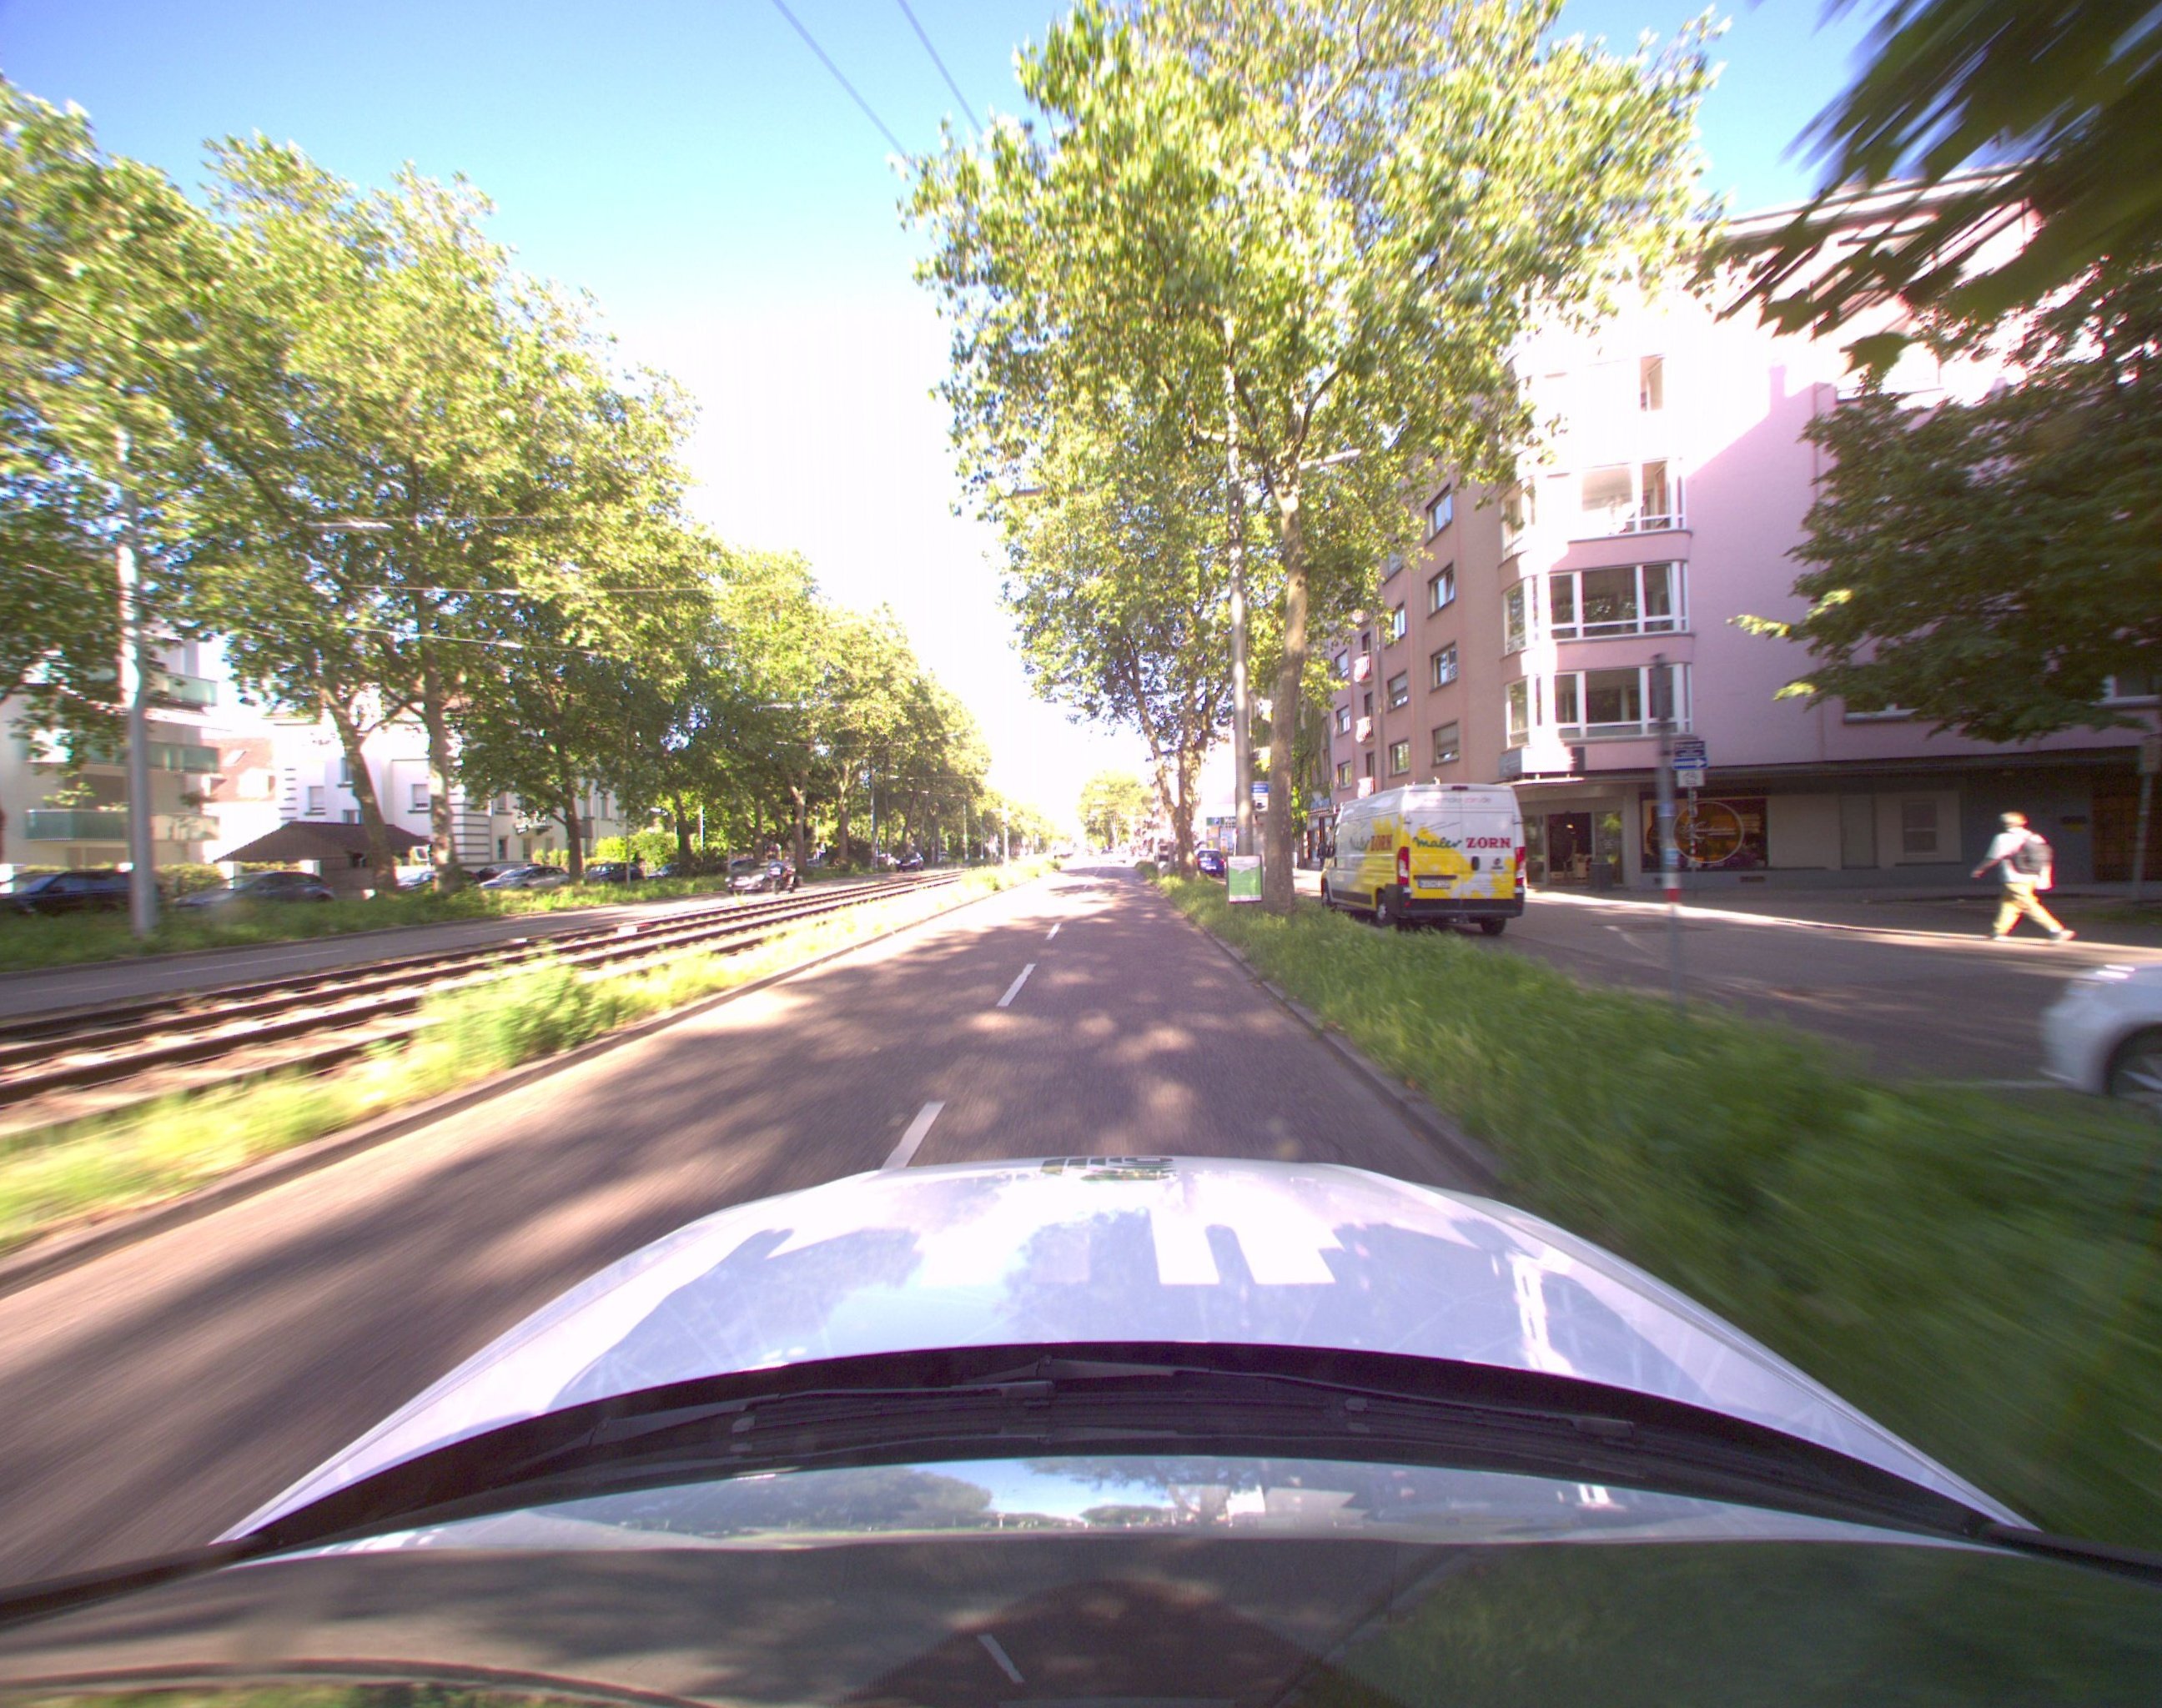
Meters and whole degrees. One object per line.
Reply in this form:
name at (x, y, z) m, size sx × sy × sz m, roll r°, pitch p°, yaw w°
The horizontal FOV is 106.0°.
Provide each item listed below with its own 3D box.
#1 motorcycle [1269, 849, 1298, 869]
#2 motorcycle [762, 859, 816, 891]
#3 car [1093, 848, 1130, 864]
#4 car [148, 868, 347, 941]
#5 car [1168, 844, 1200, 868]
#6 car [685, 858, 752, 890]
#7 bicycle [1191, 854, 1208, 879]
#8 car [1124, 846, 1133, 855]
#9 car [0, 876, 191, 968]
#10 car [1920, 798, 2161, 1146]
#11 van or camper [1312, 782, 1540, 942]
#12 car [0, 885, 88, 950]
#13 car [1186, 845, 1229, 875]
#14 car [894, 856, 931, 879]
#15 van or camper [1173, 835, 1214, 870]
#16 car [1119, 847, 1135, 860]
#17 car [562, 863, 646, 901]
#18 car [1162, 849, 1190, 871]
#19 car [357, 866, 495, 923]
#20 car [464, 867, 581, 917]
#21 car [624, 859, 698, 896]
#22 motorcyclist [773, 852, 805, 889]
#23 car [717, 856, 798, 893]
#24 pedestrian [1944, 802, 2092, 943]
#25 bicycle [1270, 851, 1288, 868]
motorcycle at (13.583, 0.347, 54.637) m, size 0.562 × 1.268 × 1.872 m, roll 2°, pitch 0°, yaw -43°
motorcycle at (-12.235, 0.848, 34.278) m, size 0.960 × 1.212 × 3.353 m, roll -2°, pitch 0°, yaw 2°
car at (3.272, 0.220, 87.086) m, size 2.036 × 1.662 × 3.959 m, roll -1°, pitch 0°, yaw -33°
car at (-26.313, 1.515, 25.944) m, size 1.986 × 2.013 × 4.094 m, roll -2°, pitch 0°, yaw 1°
car at (6.828, 0.125, 54.062) m, size 1.677 × 1.509 × 3.668 m, roll -2°, pitch 0°, yaw 1°
car at (-25.355, 1.327, 57.244) m, size 2.145 × 2.013 × 5.271 m, roll -2°, pitch 0°, yaw 2°
bicycle at (4.943, 0.504, 34.039) m, size 0.586 × 0.990 × 1.451 m, roll -2°, pitch 0°, yaw 3°
car at (8.894, -0.656, 152.271) m, size 1.676 × 1.509 × 3.670 m, roll -1°, pitch 0°, yaw 3°
car at (-26.317, 1.680, 21.016) m, size 1.986 × 2.013 × 4.175 m, roll -2°, pitch 0°, yaw 2°
car at (5.755, 0.552, 2.666) m, size 1.748 × 1.572 × 4.185 m, roll 1°, pitch 0°, yaw 1°
van or camper at (6.309, 0.120, 15.956) m, size 2.174 × 2.480 × 6.274 m, roll 1°, pitch 0°, yaw 4°
car at (-35.874, 2.128, 26.541) m, size 1.986 × 2.013 × 4.002 m, roll -2°, pitch 0°, yaw 2°
car at (6.704, 0.318, 43.586) m, size 1.678 × 1.514 × 3.665 m, roll -1°, pitch 0°, yaw -1°
car at (-14.801, 1.148, 71.870) m, size 1.986 × 1.870 × 4.875 m, roll -3°, pitch 0°, yaw 2°
van or camper at (6.686, -0.070, 49.027) m, size 1.833 × 1.963 × 5.128 m, roll -1°, pitch 0°, yaw 1°
car at (6.254, -0.044, 112.073) m, size 2.014 × 1.662 × 4.000 m, roll -1°, pitch 0°, yaw 1°
car at (-26.196, 1.504, 44.936) m, size 1.814 × 1.836 × 4.556 m, roll -2°, pitch 0°, yaw 2°
car at (6.915, 0.415, 59.309) m, size 1.677 × 1.509 × 3.668 m, roll -1°, pitch 0°, yaw 1°
car at (-26.062, 1.558, 32.604) m, size 1.985 × 2.013 × 4.106 m, roll -2°, pitch 0°, yaw 3°
car at (-26.023, 1.701, 38.180) m, size 1.985 × 2.013 × 4.689 m, roll -2°, pitch 0°, yaw 4°
car at (-25.819, 1.391, 50.260) m, size 1.986 × 2.013 × 4.686 m, roll -2°, pitch 0°, yaw 2°
motorcyclist at (-12.240, 0.688, 34.186) m, size 0.940 × 1.513 × 0.959 m, roll -2°, pitch 0°, yaw 1°
car at (-14.991, 0.894, 37.974) m, size 1.788 × 1.508 × 4.341 m, roll -4°, pitch 0°, yaw 2°
pedestrian at (12.368, 0.229, 10.793) m, size 0.689 × 1.755 × 1.080 m, roll -1°, pitch 0°, yaw 2°
bicycle at (13.757, 0.401, 56.732) m, size 0.882 × 1.134 × 2.403 m, roll -1°, pitch 0°, yaw 6°
